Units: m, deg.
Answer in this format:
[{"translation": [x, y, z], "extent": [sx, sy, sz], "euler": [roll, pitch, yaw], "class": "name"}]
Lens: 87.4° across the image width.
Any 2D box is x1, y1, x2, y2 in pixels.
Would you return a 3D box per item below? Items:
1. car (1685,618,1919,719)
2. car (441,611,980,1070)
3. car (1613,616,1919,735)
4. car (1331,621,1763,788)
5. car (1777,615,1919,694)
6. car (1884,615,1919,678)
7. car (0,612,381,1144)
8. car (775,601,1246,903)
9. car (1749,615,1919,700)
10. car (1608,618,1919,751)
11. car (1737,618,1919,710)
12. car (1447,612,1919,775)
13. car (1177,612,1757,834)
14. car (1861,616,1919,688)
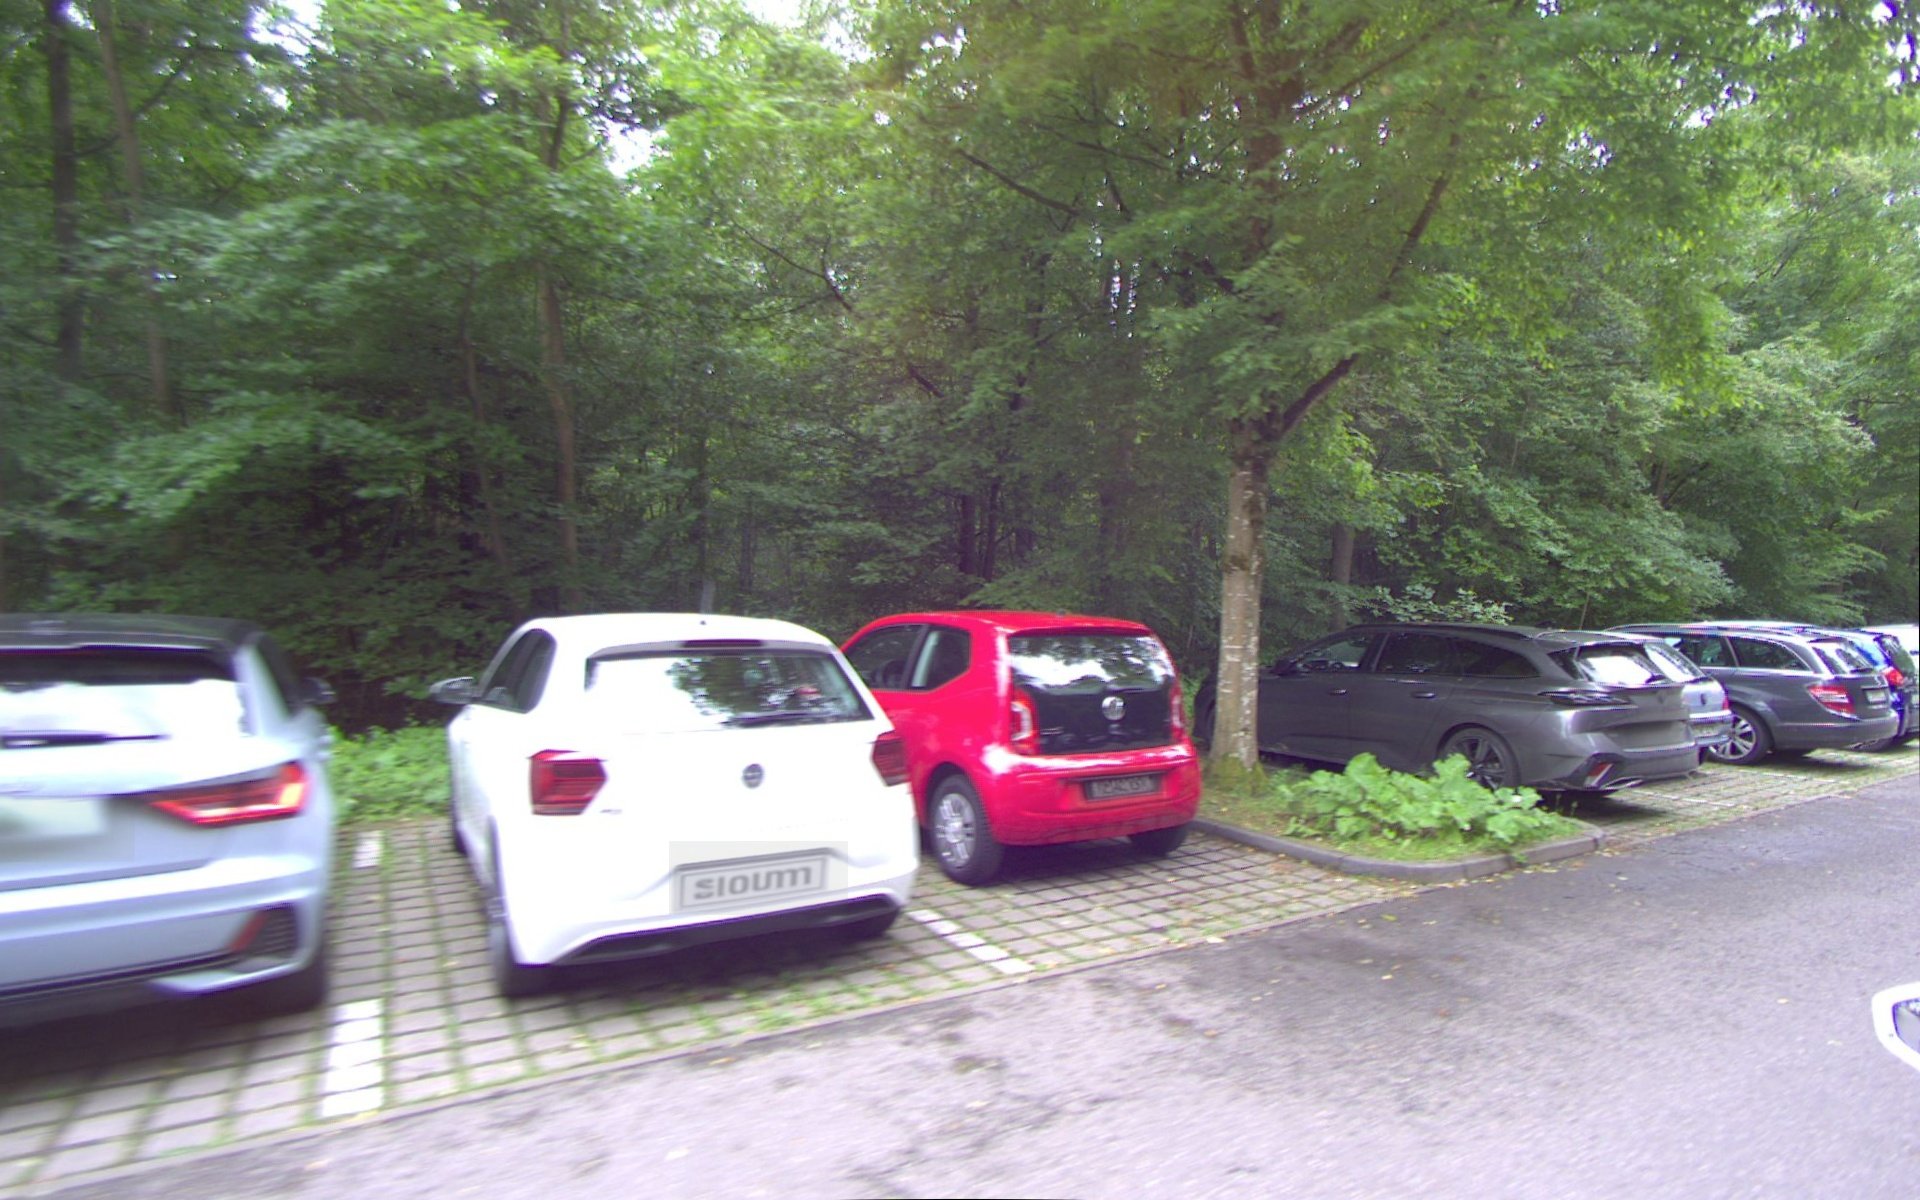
[{"translation": [14.808, 1.065, 16.329], "extent": [2.067, 1.466, 4.527], "euler": [1, 0, -38], "class": "car"}, {"translation": [-1.622, 0.798, 5.284], "extent": [1.849, 1.438, 3.710], "euler": [1, -1, -29], "class": "car"}, {"translation": [12.515, 1.042, 14.939], "extent": [1.874, 1.506, 4.334], "euler": [2, -1, -37], "class": "car"}, {"translation": [6.195, 0.981, 11.032], "extent": [1.735, 1.405, 3.739], "euler": [1, 0, -30], "class": "car"}, {"translation": [20.000, 1.137, 21.052], "extent": [1.832, 1.571, 4.199], "euler": [1, 0, -40], "class": "car"}, {"translation": [26.341, 1.227, 25.127], "extent": [1.908, 1.605, 4.483], "euler": [1, 0, -36], "class": "car"}, {"translation": [-3.699, 0.789, 4.344], "extent": [1.877, 1.440, 3.780], "euler": [1, -1, -33], "class": "car"}, {"translation": [0.097, 0.786, 6.933], "extent": [1.664, 1.501, 3.449], "euler": [1, -1, -30], "class": "car"}, {"translation": [18.253, 1.097, 19.279], "extent": [1.922, 1.506, 4.530], "euler": [1, 0, -36], "class": "car"}, {"translation": [10.723, 1.002, 13.327], "extent": [1.664, 1.463, 3.197], "euler": [1, 0, -35], "class": "car"}, {"translation": [16.724, 1.116, 17.640], "extent": [1.851, 1.506, 4.533], "euler": [1, 0, -34], "class": "car"}, {"translation": [8.399, 0.933, 12.003], "extent": [2.034, 1.506, 4.244], "euler": [1, 0, -31], "class": "car"}, {"translation": [4.272, 0.878, 9.239], "extent": [2.012, 1.443, 4.383], "euler": [1, 0, -31], "class": "car"}, {"translation": [22.532, 1.180, 21.919], "extent": [1.902, 1.575, 4.005], "euler": [1, 0, -37], "class": "car"}]
